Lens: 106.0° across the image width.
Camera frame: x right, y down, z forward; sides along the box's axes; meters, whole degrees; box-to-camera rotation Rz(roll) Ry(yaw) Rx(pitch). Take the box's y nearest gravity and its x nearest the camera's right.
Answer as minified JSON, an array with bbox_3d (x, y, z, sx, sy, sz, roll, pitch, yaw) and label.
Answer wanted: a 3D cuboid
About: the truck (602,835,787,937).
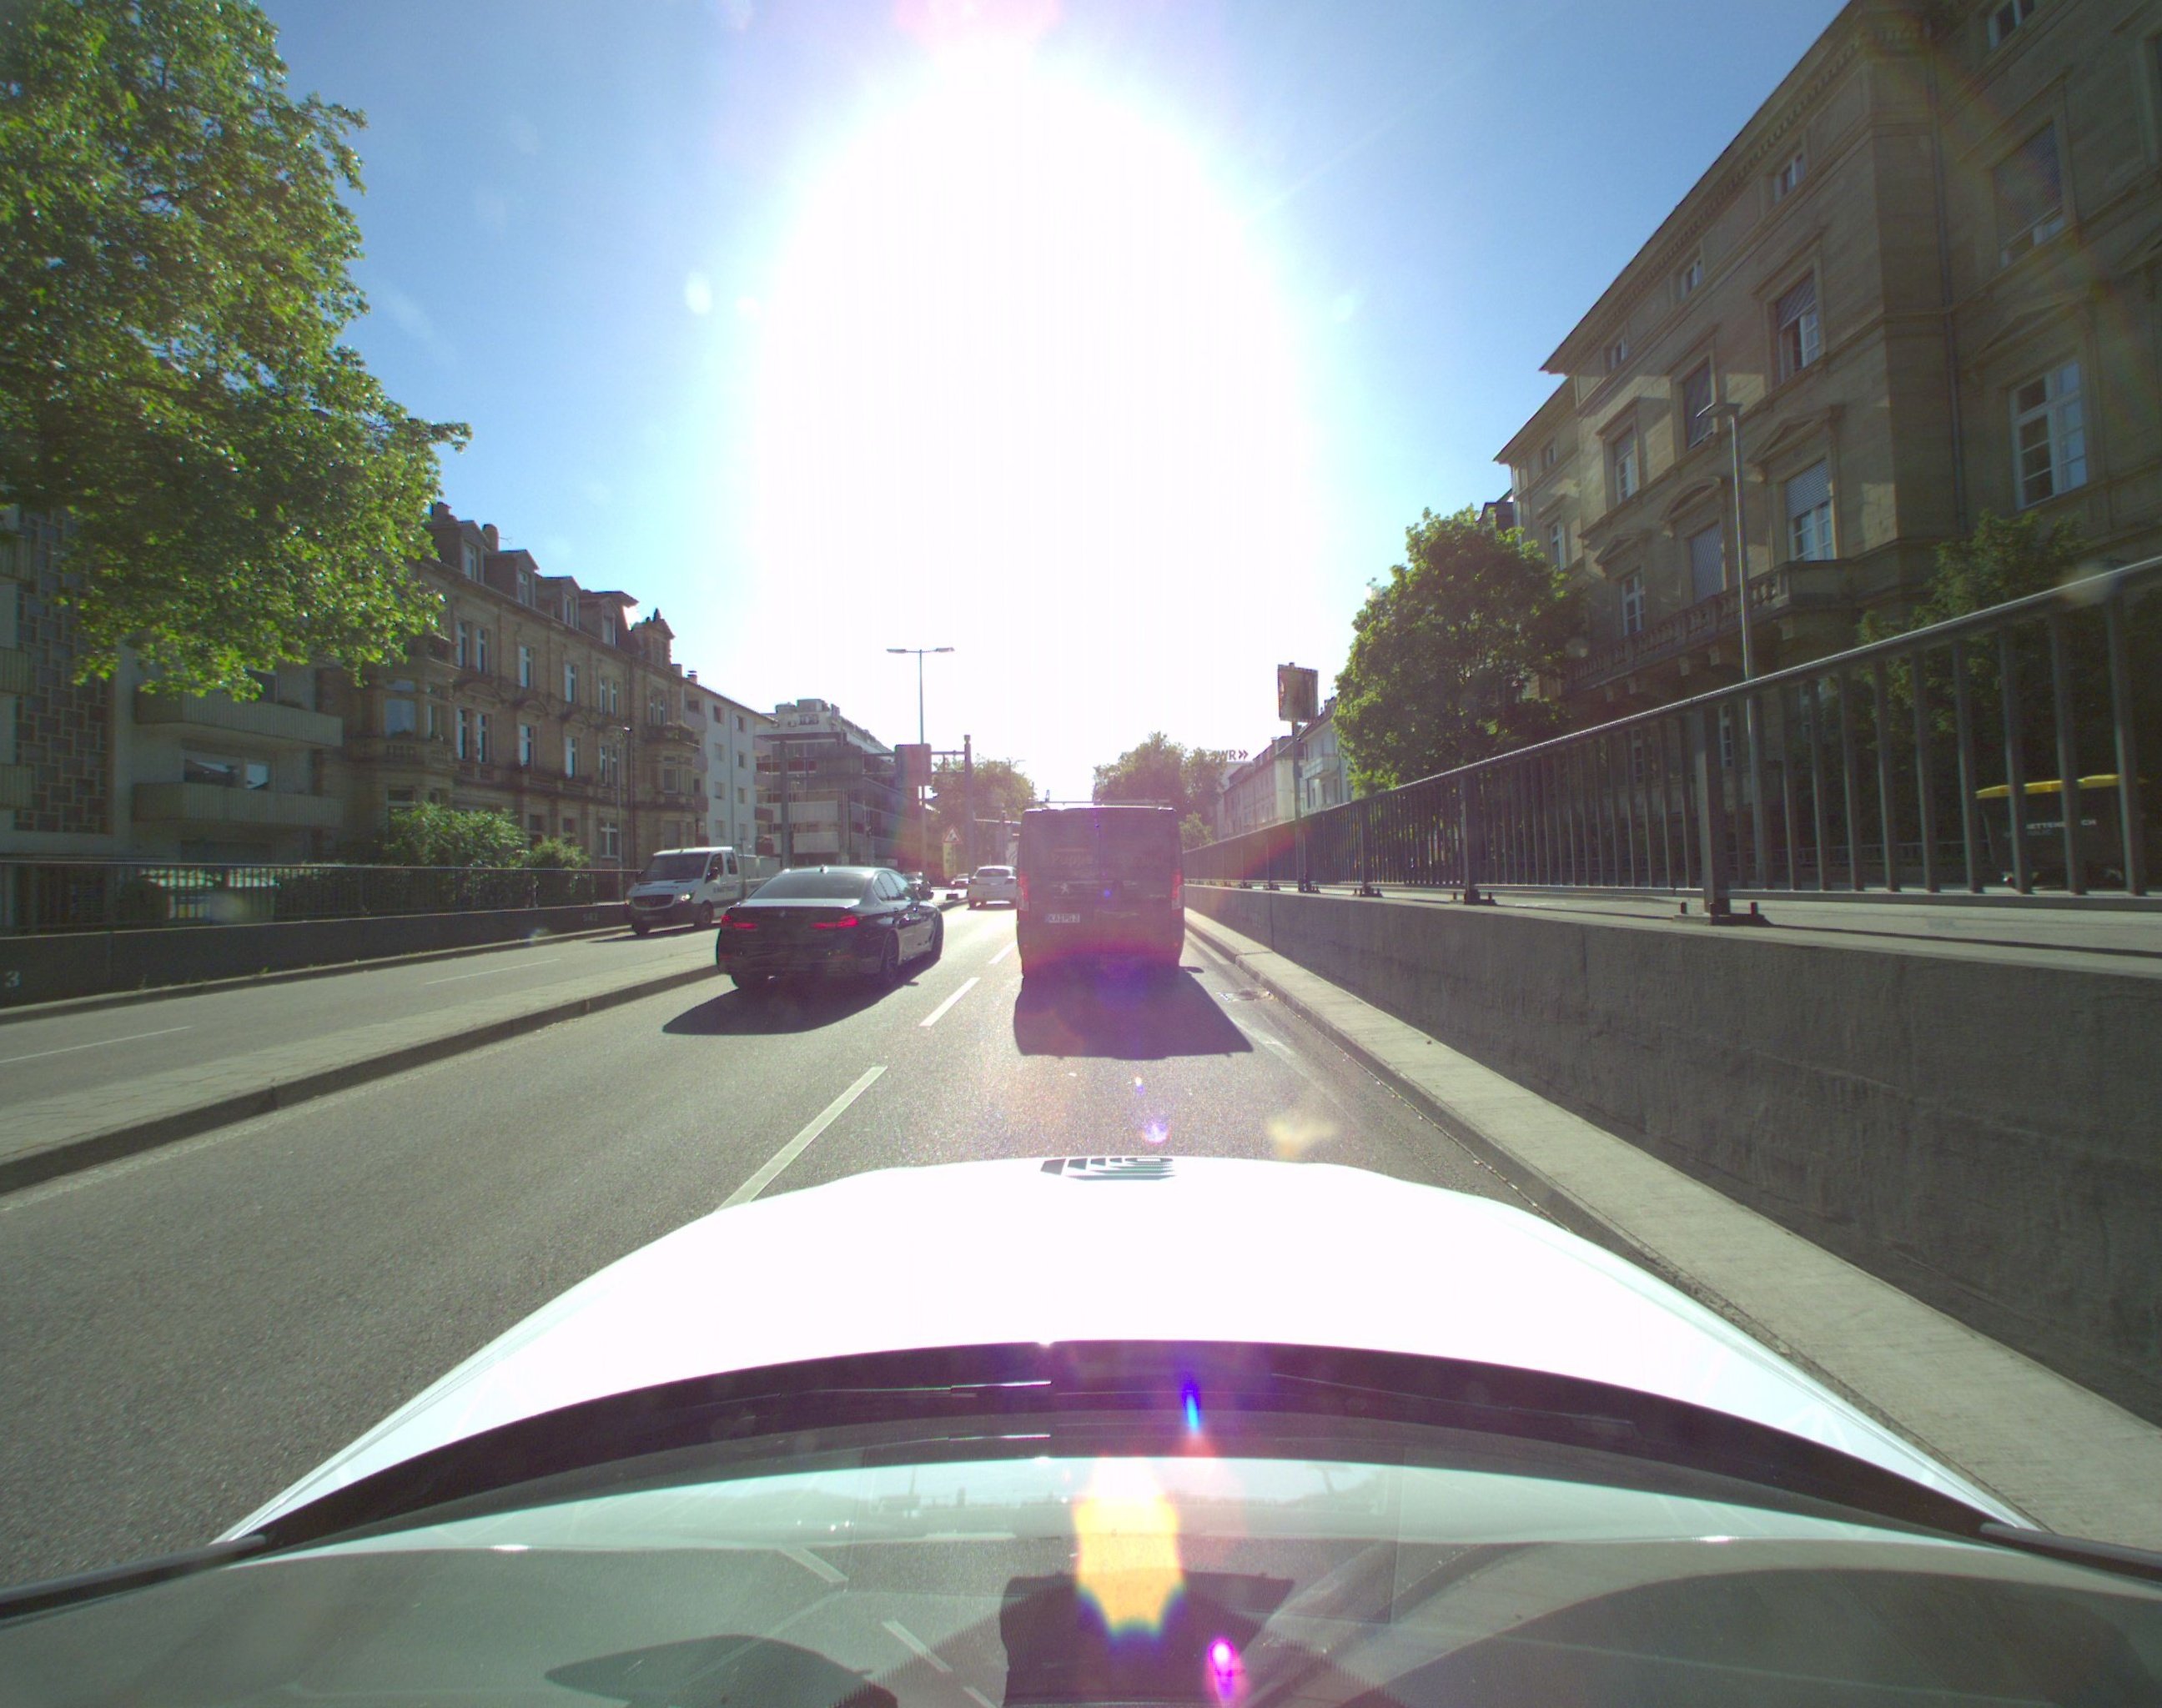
[{"bbox_3d":[-11.133,0.812,24.186,2.220,2.527,6.132,-3,0,2],"label":"truck"}]

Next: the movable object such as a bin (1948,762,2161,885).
[{"bbox_3d":[12.411,-0.370,10.300,1.449,1.324,1.402,-7,0,-16],"label":"movable object such as a bin"}]

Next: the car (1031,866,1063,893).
[{"bbox_3d":[-1.967,1.474,47.827,1.683,1.483,3.319,0,0,1],"label":"car"}]

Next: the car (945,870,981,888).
[{"bbox_3d":[-10.650,2.267,73.704,1.922,1.555,3.937,-1,-1,13],"label":"car"}]

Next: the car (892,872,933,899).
[{"bbox_3d":[-9.991,1.844,48.611,1.586,1.445,3.496,-4,-1,1],"label":"car"}]

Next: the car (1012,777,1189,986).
[{"bbox_3d":[0.268,0.346,11.515,2.023,2.402,3.973,-1,-1,1],"label":"car"}]

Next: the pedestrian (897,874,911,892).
[{"bbox_3d":[-19.095,3.114,87.821,1.328,1.931,1.026,0,-1,1],"label":"pedestrian"}]

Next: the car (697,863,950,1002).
[{"bbox_3d":[-3.117,0.856,11.089,1.802,1.439,5.002,0,-1,1],"label":"car"}]

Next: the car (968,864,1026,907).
[{"bbox_3d":[-2.943,1.080,29.316,1.613,1.403,3.852,0,0,1],"label":"car"}]

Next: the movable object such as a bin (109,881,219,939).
[{"bbox_3d":[-23.052,1.389,20.514,1.274,1.402,1.301,0,-1,1],"label":"movable object such as a bin"}]

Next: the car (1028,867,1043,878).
[{"bbox_3d":[-6.696,2.647,119.509,1.929,1.555,3.924,0,-1,2],"label":"car"}]

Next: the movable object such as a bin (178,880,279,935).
[{"bbox_3d":[-22.876,1.410,21.882,1.274,1.402,1.325,0,-1,1],"label":"movable object such as a bin"}]

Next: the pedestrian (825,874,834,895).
[{"bbox_3d":[-22.630,2.721,73.266,0.659,1.896,0.720,0,-1,-12],"label":"pedestrian"}]
